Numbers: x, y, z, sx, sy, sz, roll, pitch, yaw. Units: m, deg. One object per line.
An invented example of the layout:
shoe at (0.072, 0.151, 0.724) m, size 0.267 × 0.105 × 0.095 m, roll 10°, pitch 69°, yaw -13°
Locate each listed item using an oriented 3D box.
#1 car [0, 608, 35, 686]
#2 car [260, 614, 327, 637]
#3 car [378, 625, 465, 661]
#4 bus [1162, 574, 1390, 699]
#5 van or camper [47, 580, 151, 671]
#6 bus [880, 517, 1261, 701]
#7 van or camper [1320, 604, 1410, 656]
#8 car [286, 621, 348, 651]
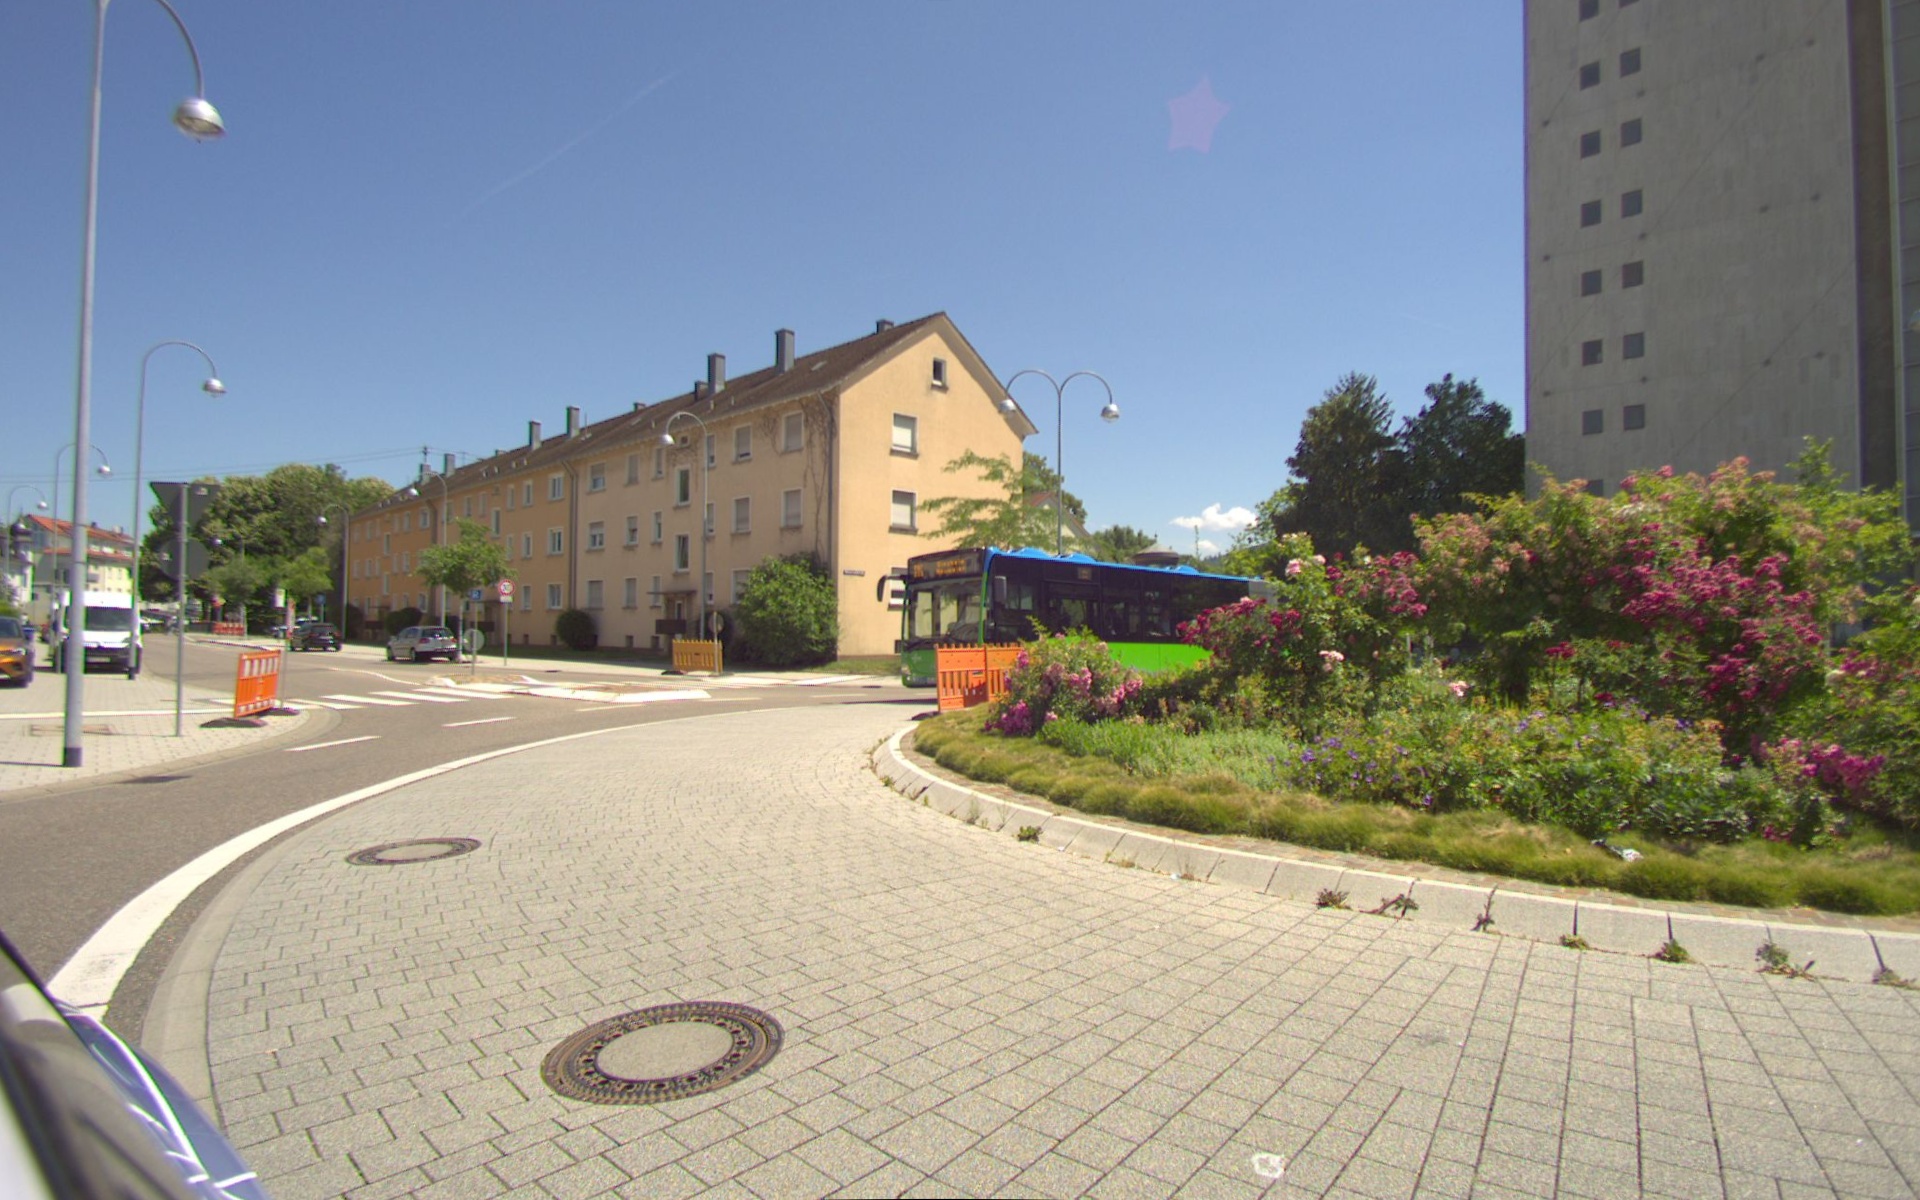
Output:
car at (-22.169, 1.003, 22.881) m, size 1.652 × 1.632 × 4.369 m, roll 5°, pitch -4°, yaw -41°
car at (-56.728, 2.163, 86.174) m, size 1.815 × 1.888 × 4.385 m, roll 0°, pitch -1°, yaw 35°
car at (-22.921, 1.787, 43.016) m, size 4.086 × 1.431 × 1.973 m, roll -2°, pitch -1°, yaw 41°
bus at (9.529, 0.994, 29.703) m, size 2.830 × 3.134 × 8.797 m, roll -4°, pitch -3°, yaw 43°
van or camper at (-27.152, 0.819, 31.832) m, size 2.139 × 2.608 × 5.772 m, roll 4°, pitch -3°, yaw -43°
bus at (2.931, 0.557, 22.991) m, size 9.934 × 3.350 × 2.965 m, roll 5°, pitch -8°, yaw -44°
van or camper at (18.400, 1.346, 46.317) m, size 1.972 × 2.188 × 5.411 m, roll -1°, pitch -1°, yaw 1°
car at (-34.675, 1.932, 54.493) m, size 4.564 × 1.518 × 1.836 m, roll -2°, pitch -1°, yaw 44°
